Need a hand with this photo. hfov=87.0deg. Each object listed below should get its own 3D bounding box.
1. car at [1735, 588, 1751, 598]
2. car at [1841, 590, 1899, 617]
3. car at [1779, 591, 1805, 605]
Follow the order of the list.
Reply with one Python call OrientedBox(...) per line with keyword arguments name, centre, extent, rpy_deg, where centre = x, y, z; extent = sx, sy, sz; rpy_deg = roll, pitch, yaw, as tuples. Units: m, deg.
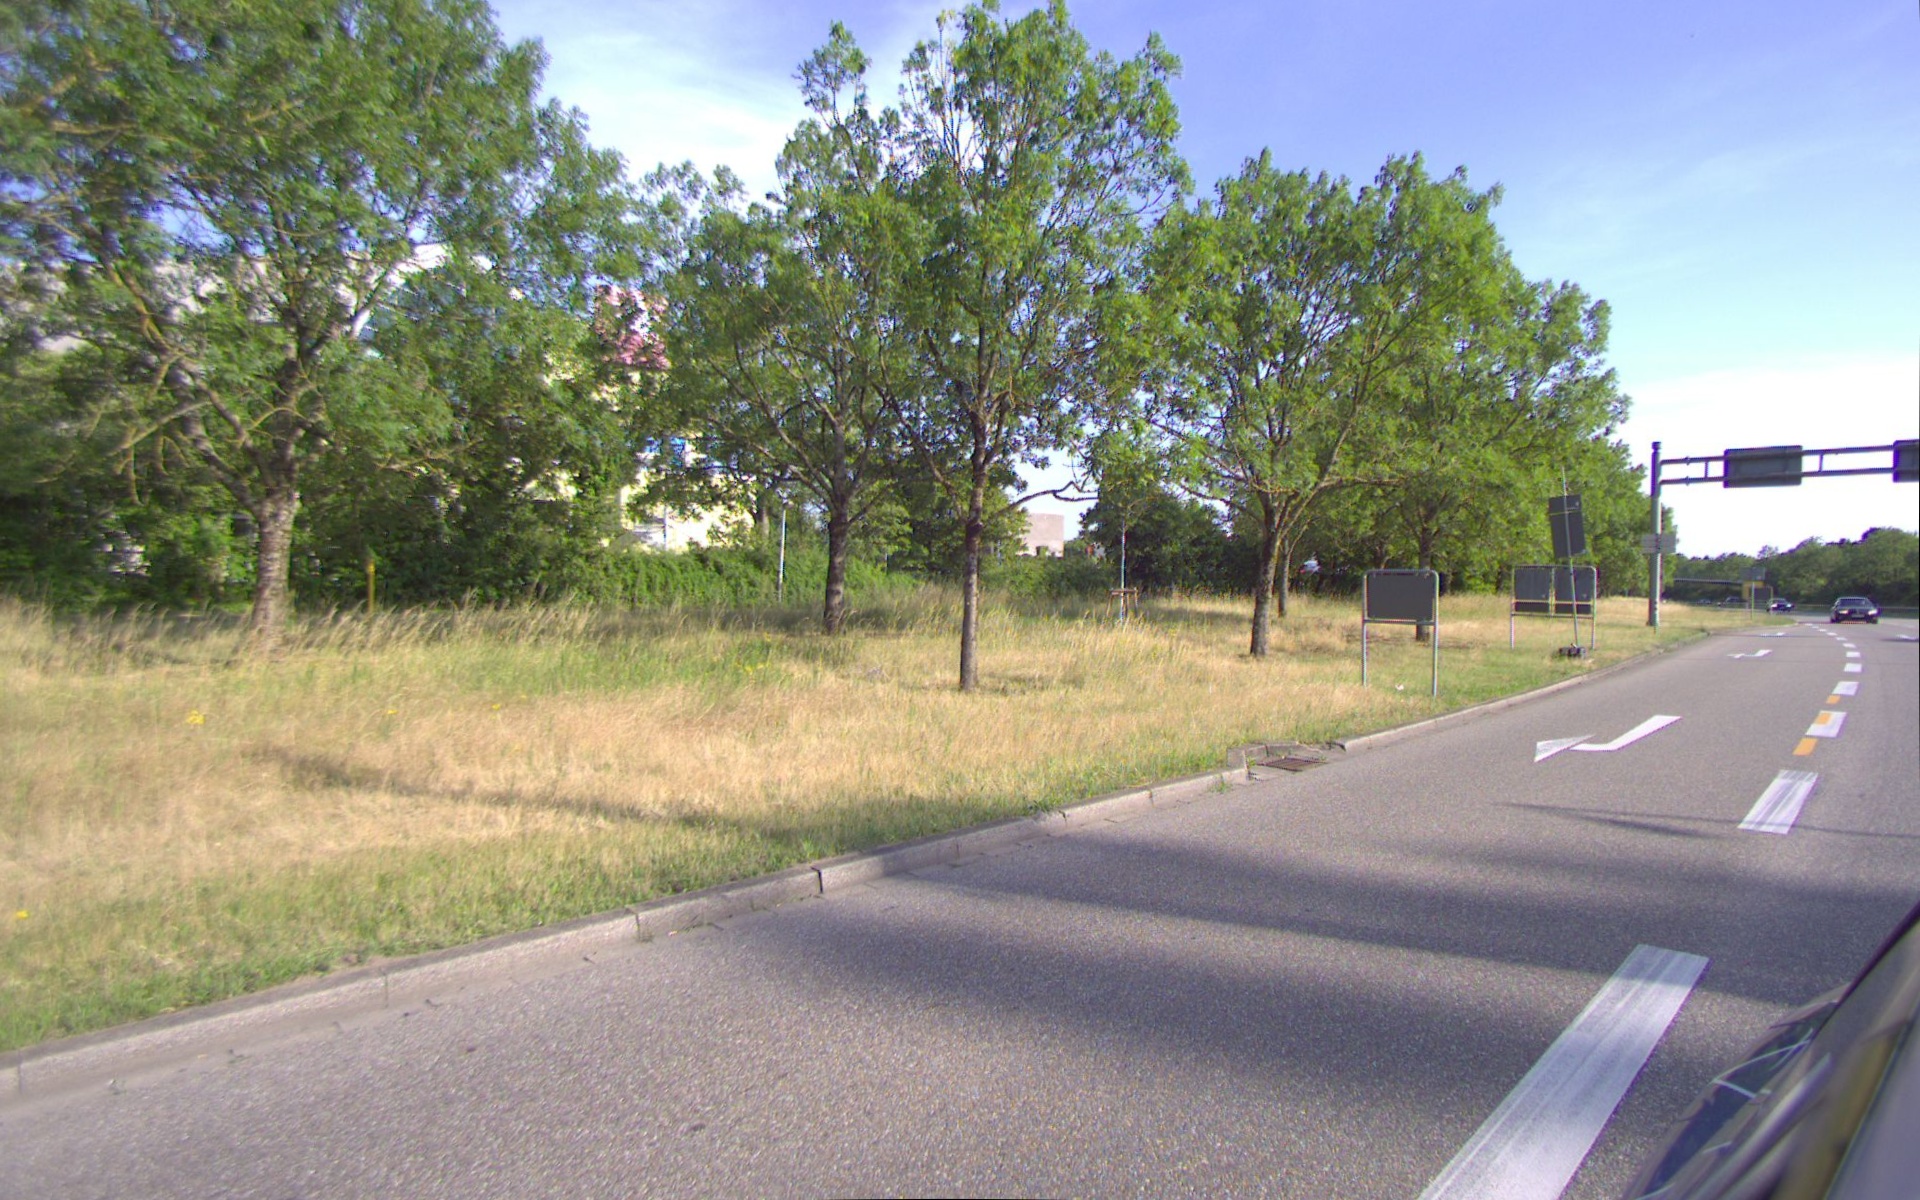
OrientedBox(name="car", centre=(136.433, -1.236, 176.315), extent=(1.777, 1.829, 4.077), rpy_deg=(1, 1, 32))
OrientedBox(name="car", centre=(49.173, 0.160, 54.753), extent=(1.891, 1.403, 4.299), rpy_deg=(-1, 0, 36))
OrientedBox(name="car", centre=(92.136, -0.239, 112.140), extent=(1.883, 1.474, 3.862), rpy_deg=(2, 2, 34))
